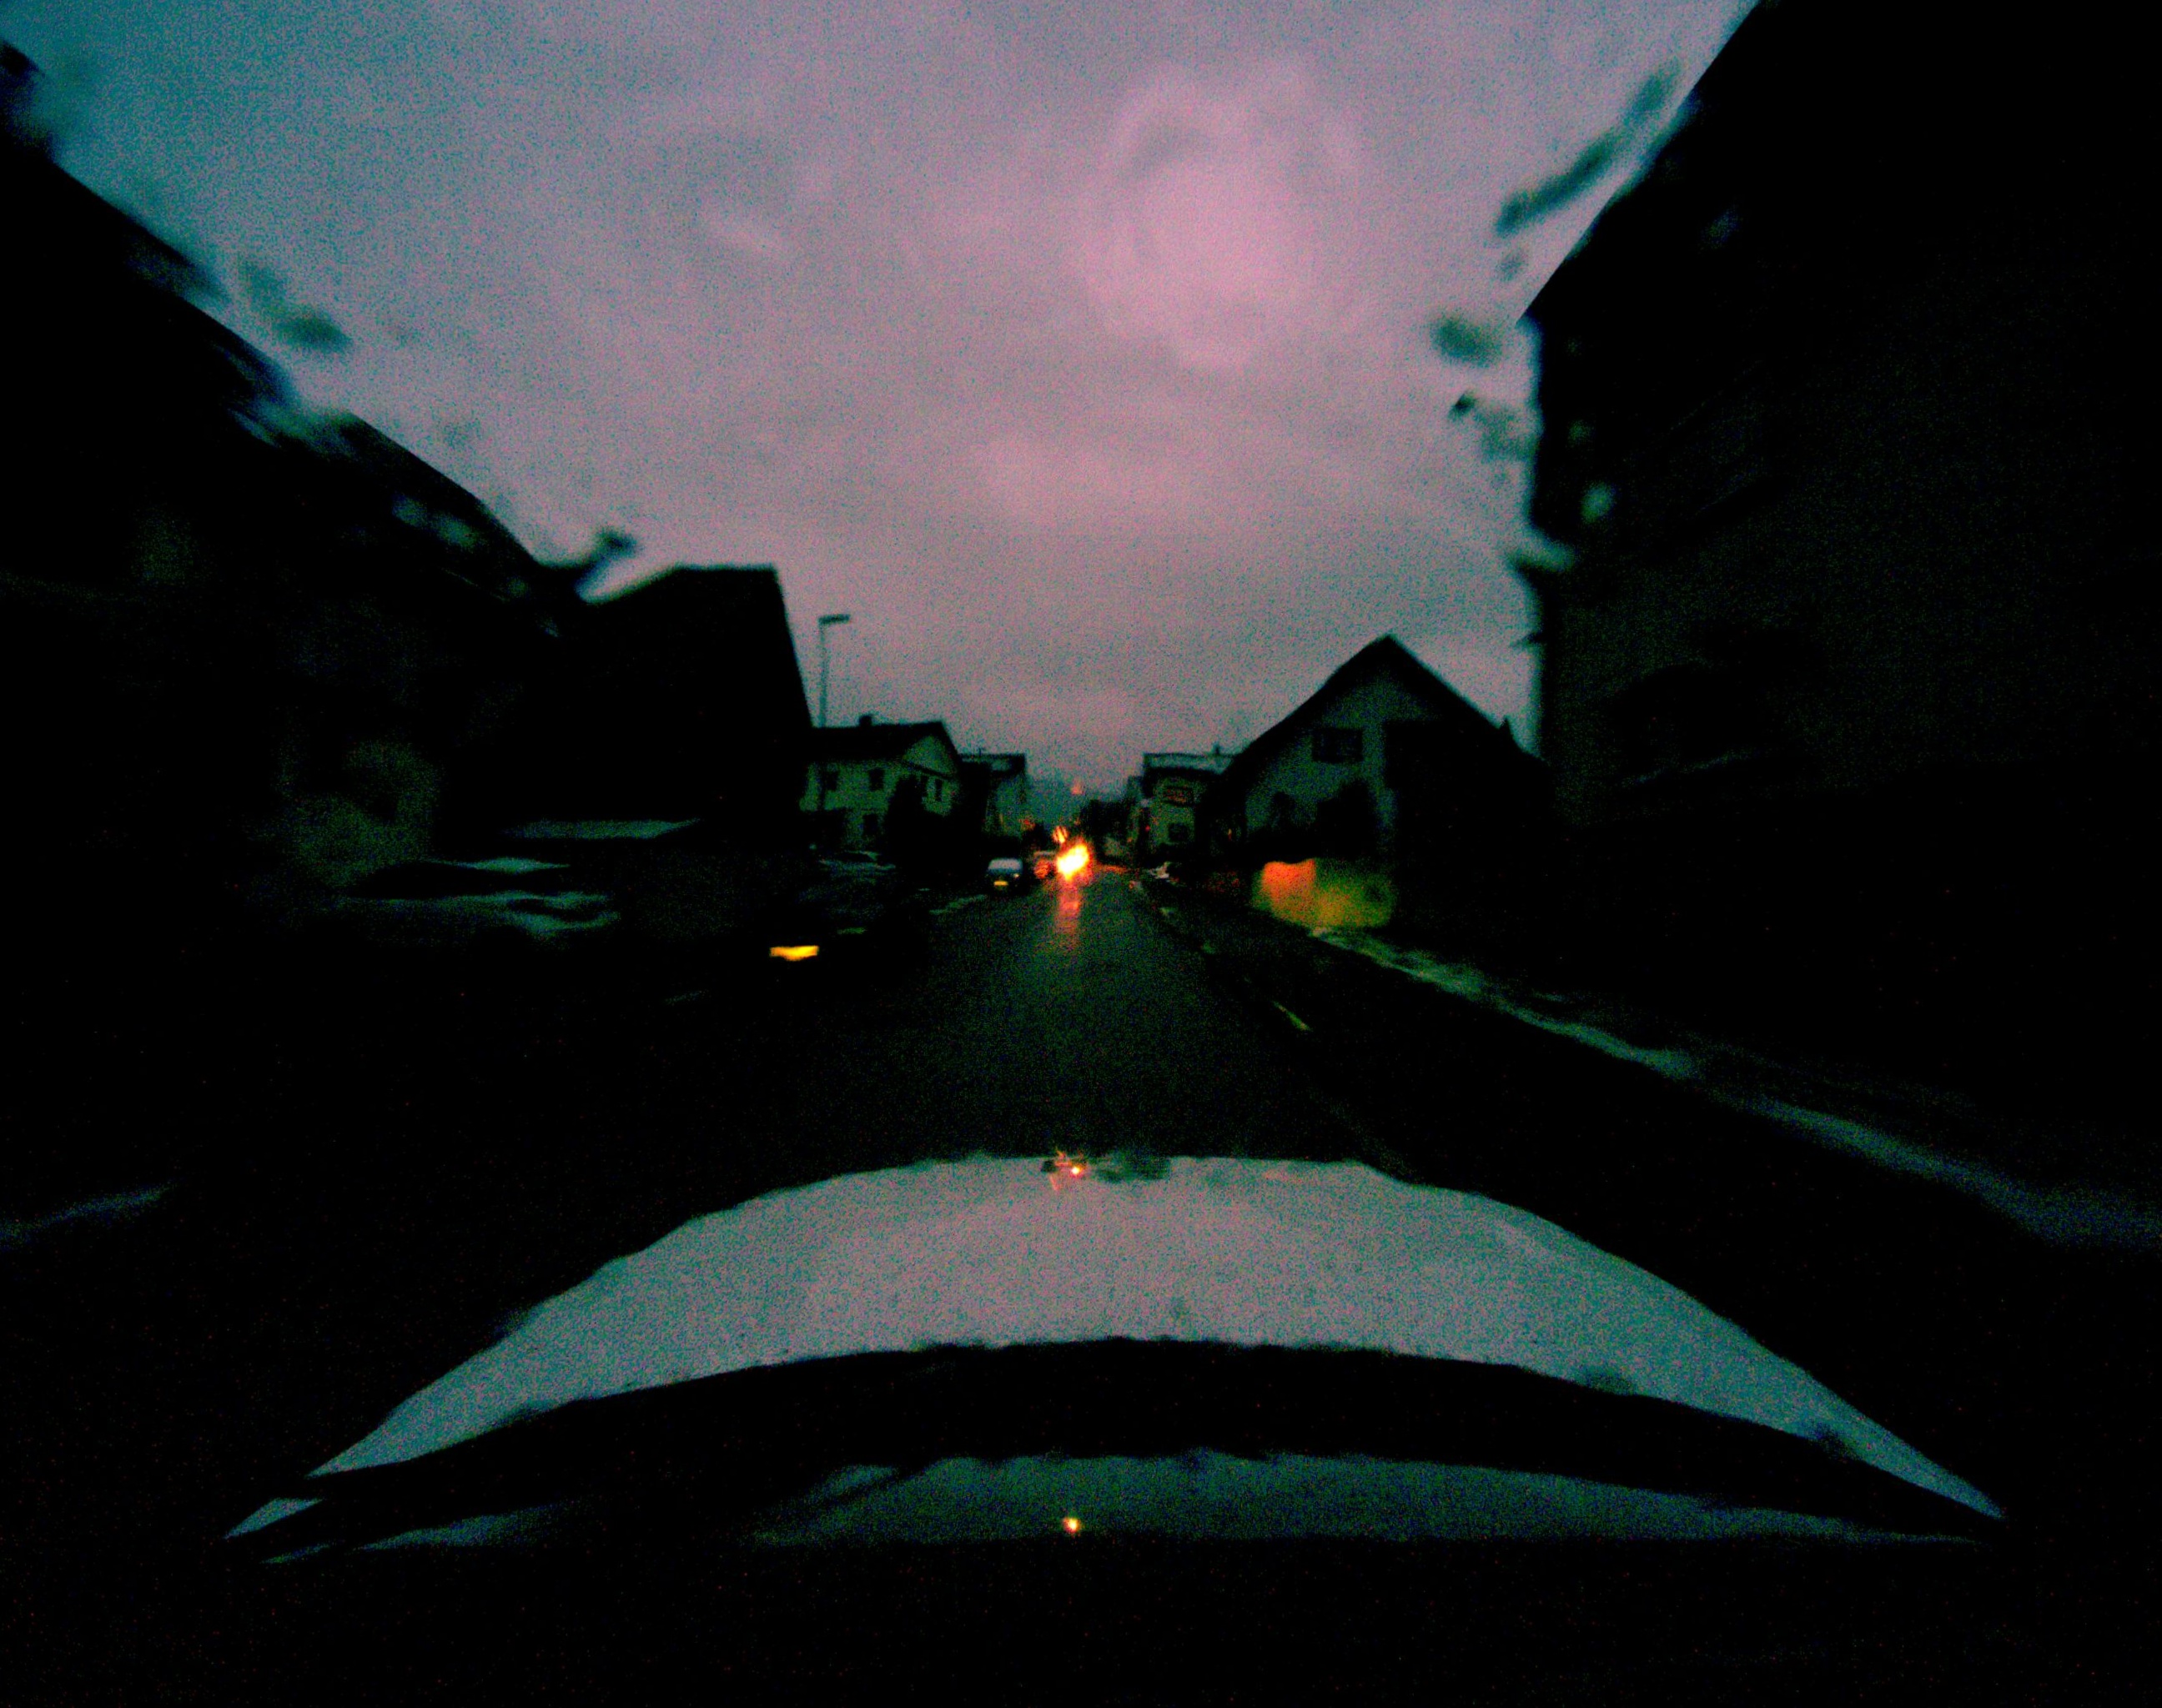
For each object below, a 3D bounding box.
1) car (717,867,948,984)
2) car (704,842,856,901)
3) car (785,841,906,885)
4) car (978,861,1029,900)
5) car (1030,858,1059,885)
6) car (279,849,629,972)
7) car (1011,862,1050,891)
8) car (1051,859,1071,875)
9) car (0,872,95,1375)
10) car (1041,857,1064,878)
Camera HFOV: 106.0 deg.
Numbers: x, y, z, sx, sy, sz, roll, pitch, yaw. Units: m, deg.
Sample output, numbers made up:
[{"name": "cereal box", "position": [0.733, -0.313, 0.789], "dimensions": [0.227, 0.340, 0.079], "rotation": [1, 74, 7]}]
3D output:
[{"name": "car", "position": [-3.458, 0.932, 12.509], "dimensions": [1.871, 1.394, 5.076], "rotation": [-1, -1, 1]}, {"name": "car", "position": [-9.405, 0.532, 25.661], "dimensions": [3.968, 1.746, 2.003], "rotation": [0, -1, 5]}, {"name": "car", "position": [-8.954, 0.349, 31.122], "dimensions": [3.968, 1.618, 1.891], "rotation": [0, -1, 5]}, {"name": "car", "position": [-3.319, 1.123, 35.364], "dimensions": [1.677, 1.584, 4.176], "rotation": [-1, -1, 1]}, {"name": "car", "position": [-2.717, 1.274, 60.744], "dimensions": [1.819, 1.835, 4.346], "rotation": [-2, -1, 1]}, {"name": "car", "position": [-8.485, 0.723, 11.245], "dimensions": [3.449, 1.528, 1.775], "rotation": [0, -1, 3]}, {"name": "car", "position": [-2.886, 1.273, 47.243], "dimensions": [1.787, 1.503, 4.312], "rotation": [-2, 0, 3]}, {"name": "car", "position": [-2.248, 1.548, 93.265], "dimensions": [1.986, 1.650, 4.000], "rotation": [-2, -2, 1]}, {"name": "car", "position": [-3.950, 0.748, 0.723], "dimensions": [1.612, 1.438, 3.657], "rotation": [-1, -1, 1]}, {"name": "car", "position": [-2.620, 1.229, 75.263], "dimensions": [1.988, 1.800, 3.998], "rotation": [-2, -1, -1]}]
